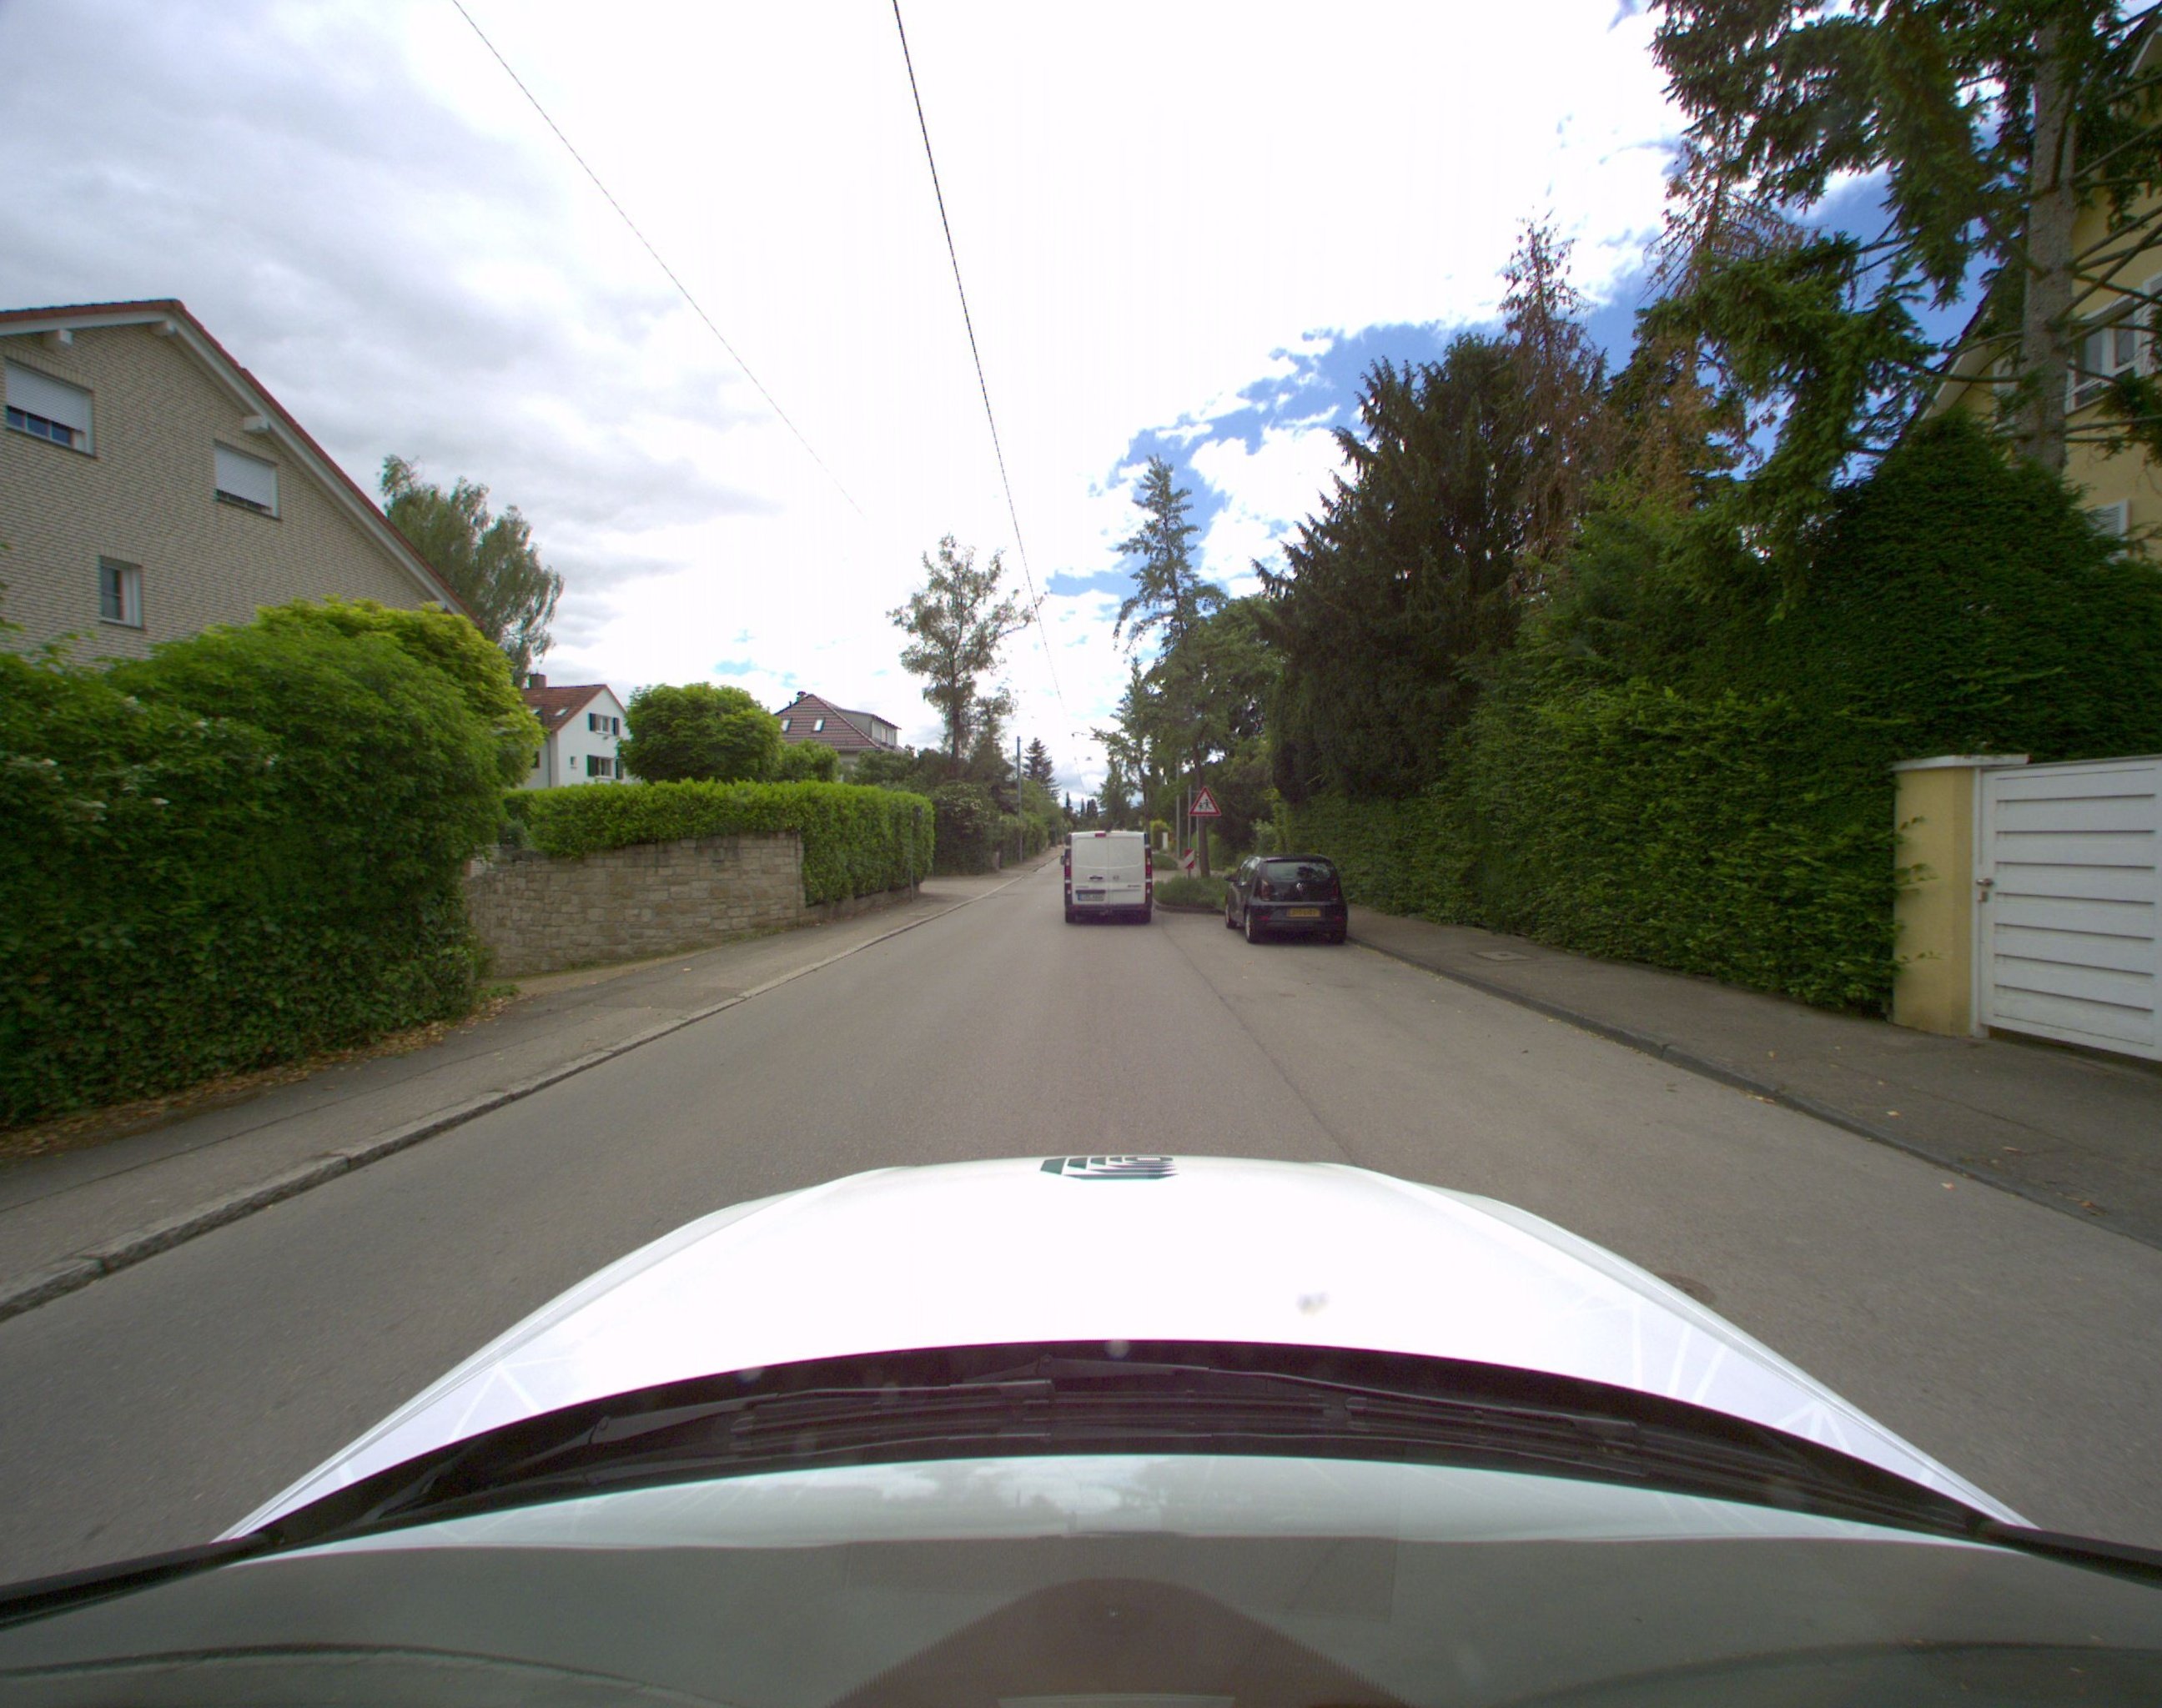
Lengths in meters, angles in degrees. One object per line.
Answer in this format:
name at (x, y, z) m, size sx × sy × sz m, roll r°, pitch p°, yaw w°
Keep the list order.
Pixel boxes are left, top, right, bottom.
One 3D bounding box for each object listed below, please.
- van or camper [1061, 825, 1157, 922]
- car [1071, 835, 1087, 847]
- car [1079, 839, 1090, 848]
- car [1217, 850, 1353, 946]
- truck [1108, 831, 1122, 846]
van or camper at (0.581, 0.372, 18.747) m, size 1.933 × 1.954 × 4.765 m, roll 0°, pitch 0°, yaw 0°
car at (-0.250, -1.739, 108.236) m, size 1.798 × 1.431 × 4.304 m, roll -4°, pitch 1°, yaw 2°
car at (0.665, -1.811, 138.268) m, size 1.799 × 1.431 × 4.118 m, roll -2°, pitch 0°, yaw 0°
car at (3.558, 0.698, 14.848) m, size 1.618 × 1.473 × 3.741 m, roll -1°, pitch 1°, yaw 1°
truck at (6.000, -2.804, 144.766) m, size 2.179 × 2.471 × 7.433 m, roll 0°, pitch 2°, yaw 1°
